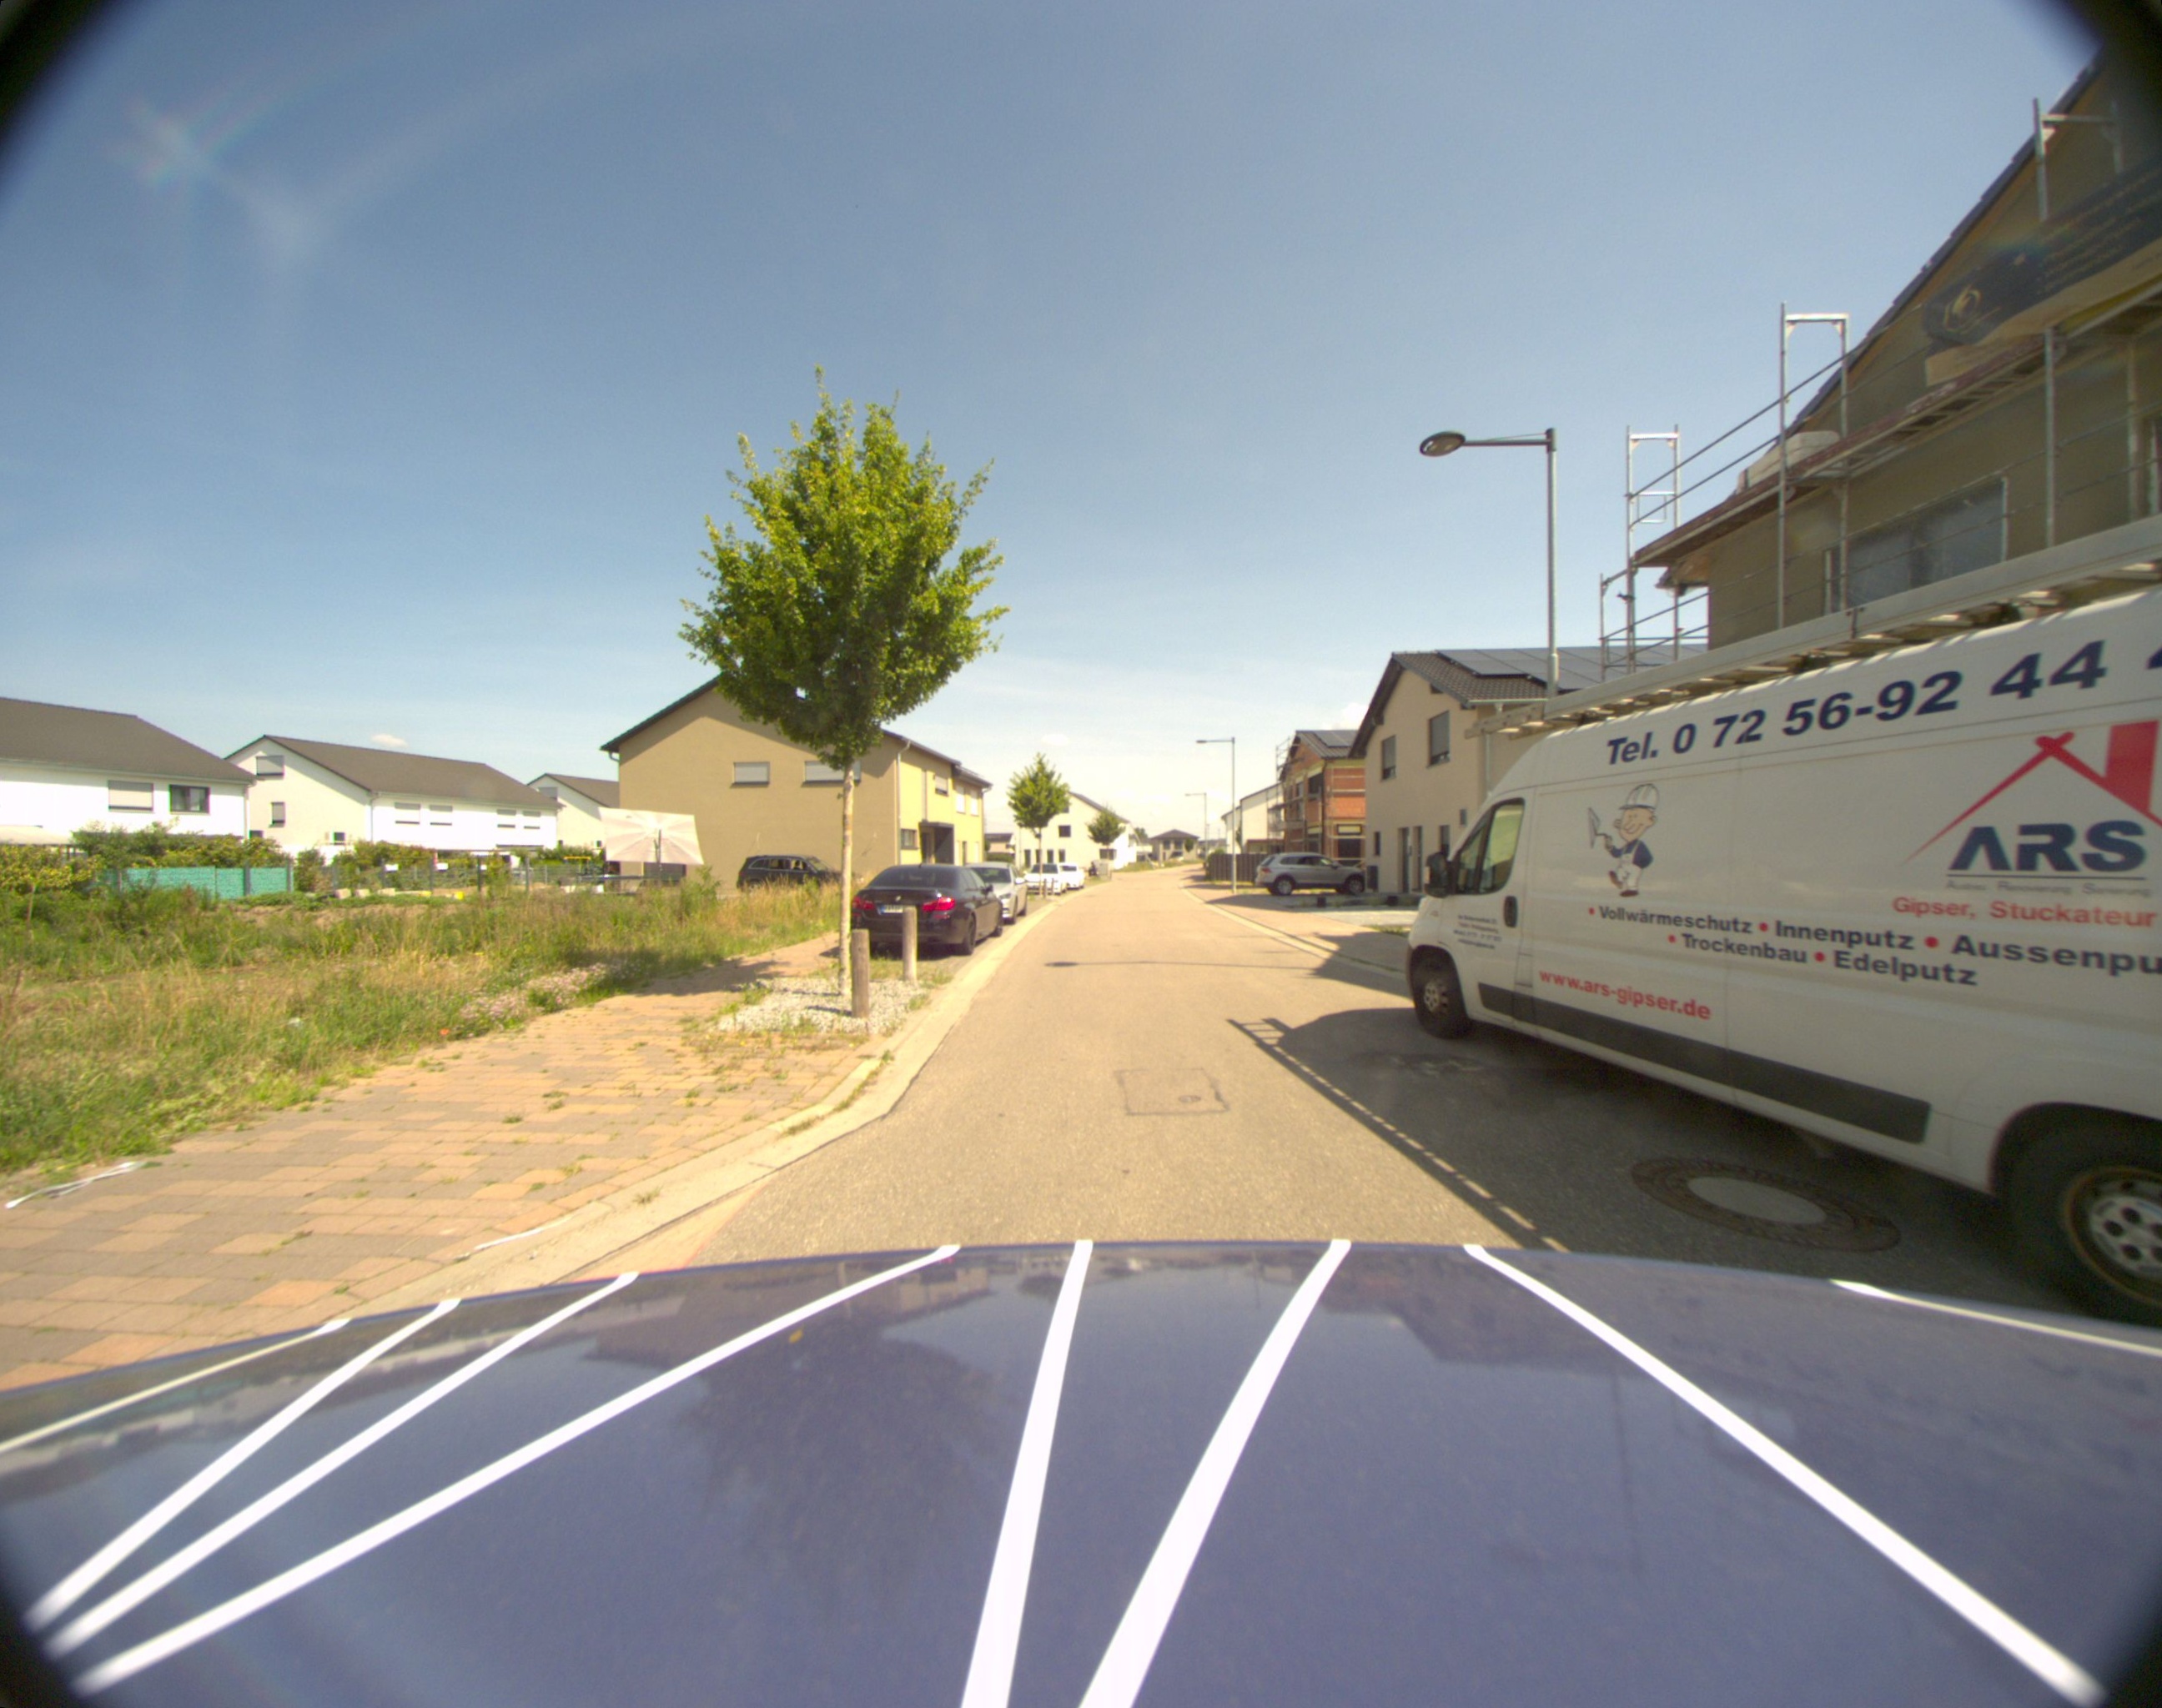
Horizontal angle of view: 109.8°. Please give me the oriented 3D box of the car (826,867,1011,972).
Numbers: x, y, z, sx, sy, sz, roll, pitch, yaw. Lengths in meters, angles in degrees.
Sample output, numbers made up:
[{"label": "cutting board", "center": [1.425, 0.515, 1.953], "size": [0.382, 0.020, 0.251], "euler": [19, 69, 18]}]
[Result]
[{"label": "car", "center": [-2.605, 0.995, 13.607], "size": [1.923, 1.461, 5.142], "euler": [1, -1, 3]}]

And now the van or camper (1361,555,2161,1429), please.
[{"label": "van or camper", "center": [4.113, 0.388, 4.287], "size": [2.279, 2.538, 6.364], "euler": [0, 0, -5]}]

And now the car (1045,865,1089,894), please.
[{"label": "car", "center": [-0.721, 1.352, 41.930], "size": [1.818, 1.447, 4.566], "euler": [1, 0, 6]}]

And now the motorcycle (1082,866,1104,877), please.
[{"label": "motorcycle", "center": [1.194, 1.717, 76.164], "size": [0.960, 1.029, 2.430], "euler": [-2, 1, -37]}]

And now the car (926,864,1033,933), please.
[{"label": "car", "center": [-2.441, 1.028, 19.676], "size": [1.923, 1.502, 5.296], "euler": [1, -1, 1]}]

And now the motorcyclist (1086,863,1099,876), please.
[{"label": "motorcyclist", "center": [1.172, 1.552, 76.208], "size": [0.929, 1.215, 0.802], "euler": [-3, -1, -39]}]

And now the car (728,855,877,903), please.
[{"label": "car", "center": [-10.245, 0.890, 28.180], "size": [4.756, 1.635, 2.000], "euler": [1, 1, 3]}]

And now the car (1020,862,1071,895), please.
[{"label": "car", "center": [-1.596, 1.119, 35.654], "size": [1.783, 1.417, 4.516], "euler": [1, -1, 4]}]

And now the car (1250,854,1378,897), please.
[{"label": "car", "center": [9.082, 0.827, 29.902], "size": [4.435, 1.602, 2.000], "euler": [0, 0, 2]}]
